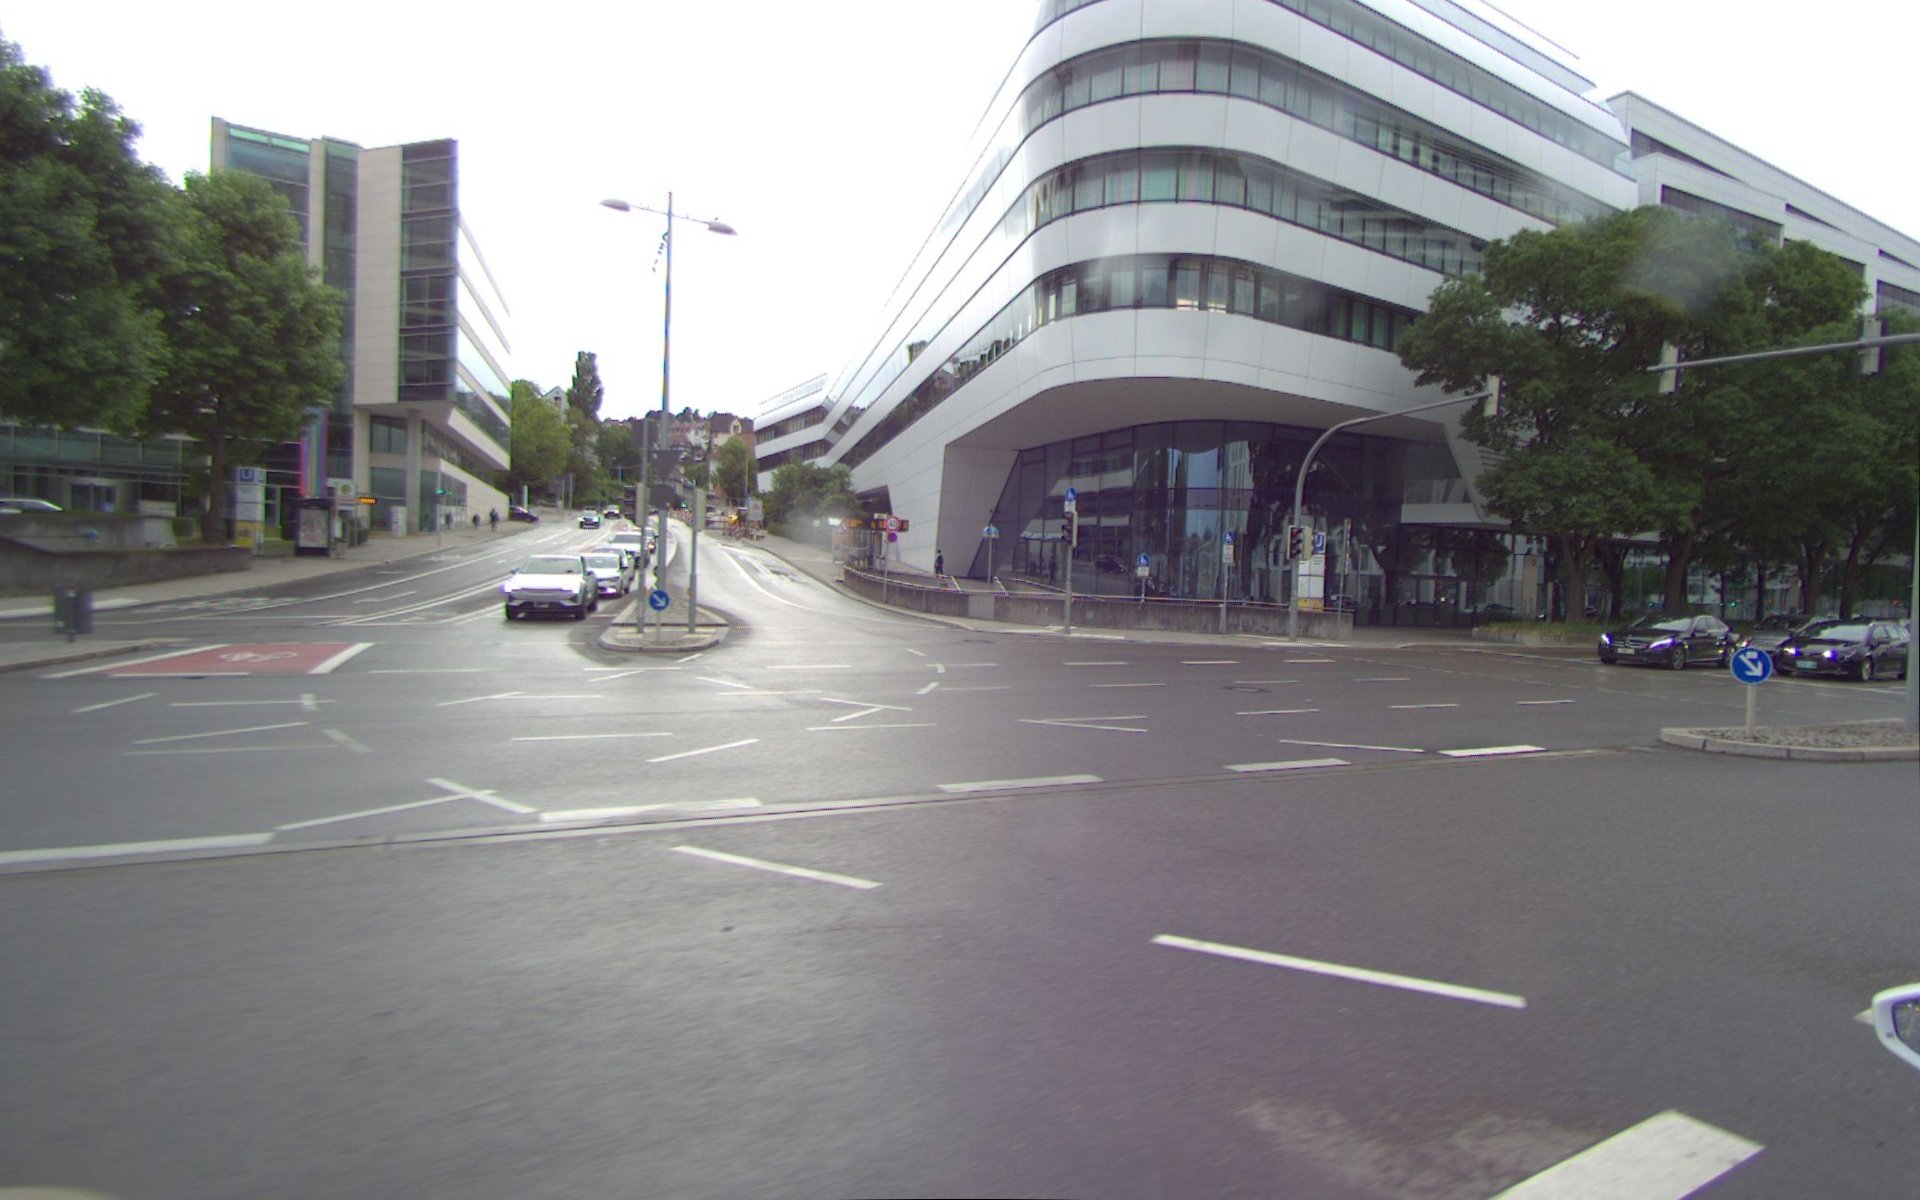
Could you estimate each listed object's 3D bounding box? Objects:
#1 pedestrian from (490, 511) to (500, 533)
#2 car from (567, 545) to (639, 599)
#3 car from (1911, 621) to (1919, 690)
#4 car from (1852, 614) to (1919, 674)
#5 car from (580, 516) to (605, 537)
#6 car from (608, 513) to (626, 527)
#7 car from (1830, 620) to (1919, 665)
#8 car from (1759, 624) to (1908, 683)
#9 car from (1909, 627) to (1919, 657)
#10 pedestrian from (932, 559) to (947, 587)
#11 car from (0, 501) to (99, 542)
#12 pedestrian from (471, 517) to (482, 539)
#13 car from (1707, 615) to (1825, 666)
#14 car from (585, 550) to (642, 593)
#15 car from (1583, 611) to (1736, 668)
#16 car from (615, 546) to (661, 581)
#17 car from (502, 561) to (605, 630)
[{"bbox_3d":[-36.556,-6.132,78.984,0.586,1.632,0.686,2,0,-18],"label":"pedestrian"},{"bbox_3d":[-12.304,-0.913,34.806,1.863,1.653,3.989,2,0,-13],"label":"car"},{"bbox_3d":[22.094,1.243,21.432,3.355,1.463,1.735,2,0,-30],"label":"car"},{"bbox_3d":[26.986,1.249,28.316,3.498,1.579,1.735,2,0,-30],"label":"car"},{"bbox_3d":[-36.488,-7.312,99.718,1.816,1.684,3.987,3,7,-14],"label":"car"},{"bbox_3d":[-47.887,-11.167,140.240,1.863,1.653,3.989,2,1,-13],"label":"car"},{"bbox_3d":[32.440,1.506,35.320,3.498,1.442,1.735,2,0,-30],"label":"car"},{"bbox_3d":[21.517,1.276,24.734,3.498,1.274,1.735,1,1,-30],"label":"car"},{"bbox_3d":[58.411,2.572,59.888,3.498,1.771,1.735,2,0,-30],"label":"car"},{"bbox_3d":[-1.169,-1.552,57.478,0.669,1.586,0.630,2,0,-14],"label":"pedestrian"},{"bbox_3d":[-37.850,-3.217,40.976,3.837,1.428,1.518,2,0,-31],"label":"car"},{"bbox_3d":[-37.562,-5.611,78.066,0.586,1.632,0.686,2,0,-18],"label":"pedestrian"},{"bbox_3d":[25.298,1.276,31.504,3.498,1.442,1.735,2,0,-30],"label":"car"},{"bbox_3d":[-14.750,-1.204,42.988,1.863,1.653,3.989,2,1,-13],"label":"car"},{"bbox_3d":[18.543,1.054,26.602,4.176,1.346,1.735,2,0,-30],"label":"car"},{"bbox_3d":[-16.519,-1.900,51.655,1.863,1.653,3.988,2,2,-13],"label":"car"},{"bbox_3d":[-10.903,-0.111,27.238,1.862,1.653,4.504,2,0,-13],"label":"car"}]
